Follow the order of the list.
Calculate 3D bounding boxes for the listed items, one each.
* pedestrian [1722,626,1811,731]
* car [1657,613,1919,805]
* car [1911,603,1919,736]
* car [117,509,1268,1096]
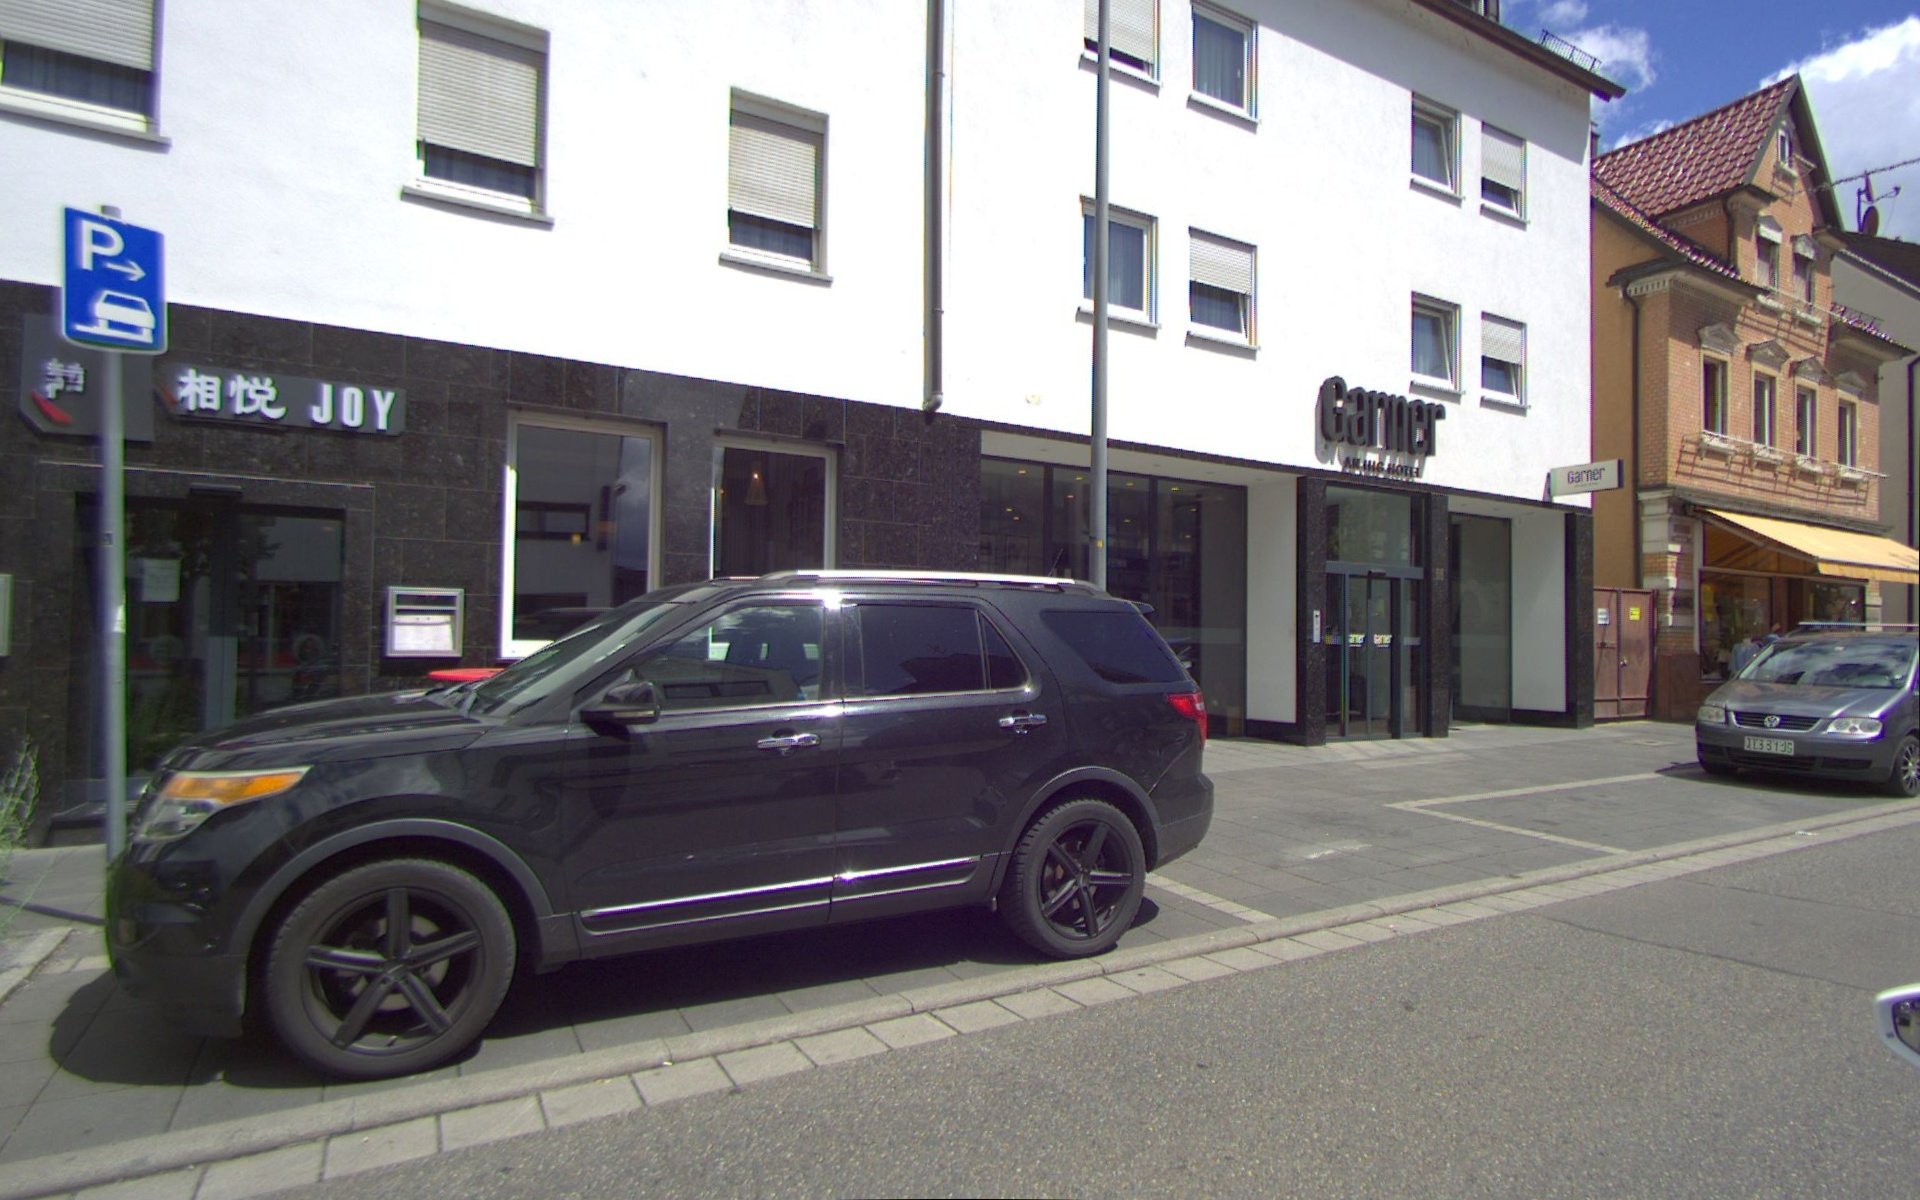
[{"bbox_3d":[12.773,1.228,15.917,0.767,1.595,0.804,2,0,-21],"label":"pedestrian"},{"bbox_3d":[10.069,1.114,11.346,4.409,1.778,1.808,2,-1,-29],"label":"car"},{"bbox_3d":[16.293,1.087,15.133,4.790,1.913,1.805,2,-1,-33],"label":"car"},{"bbox_3d":[-0.882,0.687,4.917,4.609,1.778,1.809,2,-1,-27],"label":"car"}]
